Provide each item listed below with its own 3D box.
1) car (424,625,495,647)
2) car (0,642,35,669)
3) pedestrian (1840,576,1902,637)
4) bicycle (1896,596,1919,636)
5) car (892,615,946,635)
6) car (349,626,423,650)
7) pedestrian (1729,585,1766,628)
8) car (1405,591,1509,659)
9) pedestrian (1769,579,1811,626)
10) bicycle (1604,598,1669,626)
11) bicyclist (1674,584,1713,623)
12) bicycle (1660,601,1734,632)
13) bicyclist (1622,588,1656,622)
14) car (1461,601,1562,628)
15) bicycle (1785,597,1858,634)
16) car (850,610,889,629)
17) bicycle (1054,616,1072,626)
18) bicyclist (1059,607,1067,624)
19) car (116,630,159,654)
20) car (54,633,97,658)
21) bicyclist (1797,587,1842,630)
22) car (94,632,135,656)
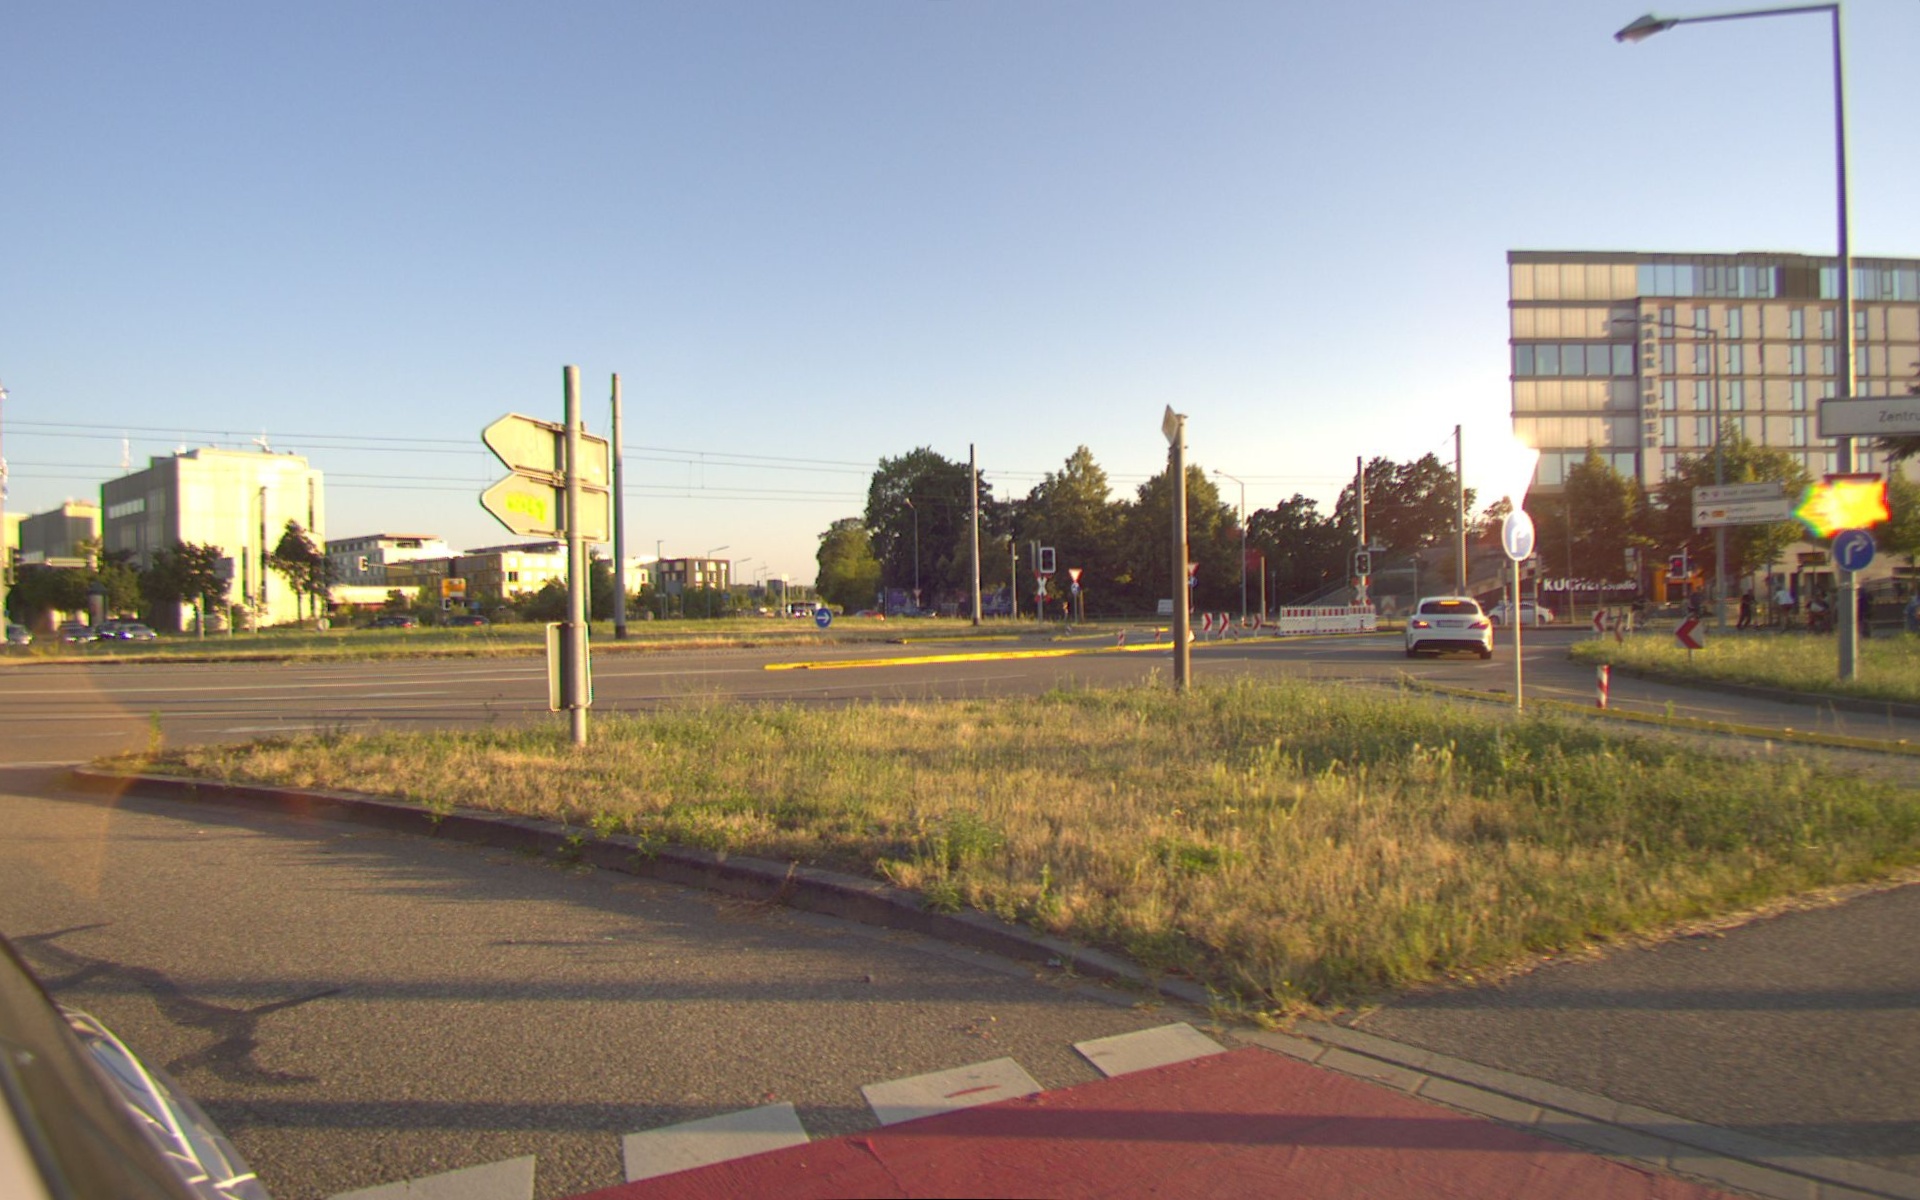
[{"bbox_3d":[-37.178,2.665,75.258,4.342,1.443,1.944,-2,-1,1],"label":"car"},{"bbox_3d":[-66.101,3.841,70.664,3.851,1.763,1.847,-1,0,42],"label":"car"},{"bbox_3d":[28.223,0.194,31.383,0.971,1.841,1.155,-1,-1,17],"label":"pedestrian"},{"bbox_3d":[28.644,0.460,29.218,0.742,1.176,2.414,-1,0,-8],"label":"bicycle"},{"bbox_3d":[-3.231,1.952,78.647,1.914,1.443,4.327,-1,-1,-40],"label":"car"},{"bbox_3d":[-40.386,2.656,71.240,4.199,1.512,1.840,-1,-1,4],"label":"car"},{"bbox_3d":[32.379,0.259,41.620,0.781,1.720,0.890,-1,-1,-11],"label":"pedestrian"},{"bbox_3d":[11.893,0.528,24.382,2.063,1.464,4.617,0,0,25],"label":"car"},{"bbox_3d":[31.141,0.110,37.983,0.784,1.720,0.888,-1,-1,2],"label":"pedestrian"},{"bbox_3d":[28.868,0.506,43.216,0.742,1.176,2.416,-1,0,-14],"label":"bicycle"},{"bbox_3d":[29.449,0.161,40.655,0.742,1.537,0.981,-1,-1,-17],"label":"bicyclist"},{"bbox_3d":[29.508,0.650,40.574,0.742,1.176,2.417,-1,0,-17],"label":"bicycle"},{"bbox_3d":[28.915,0.205,43.120,0.742,1.403,0.882,-1,-1,-14],"label":"bicyclist"},{"bbox_3d":[34.339,0.876,63.109,5.127,1.556,2.001,-1,0,-1],"label":"car"},{"bbox_3d":[28.772,0.517,33.869,0.746,1.176,2.401,-1,0,11],"label":"bicycle"},{"bbox_3d":[-7.697,1.667,85.740,1.911,1.443,4.610,-1,-1,-24],"label":"car"},{"bbox_3d":[8.600,1.772,84.561,1.412,0.797,0.469,-2,-1,29],"label":"bicycle"},{"bbox_3d":[8.600,1.323,84.556,0.446,1.408,0.469,-2,-1,28],"label":"bicyclist"},{"bbox_3d":[-59.278,3.002,72.913,4.192,1.637,1.847,-1,0,42],"label":"car"},{"bbox_3d":[-62.371,3.166,71.330,4.192,1.637,1.847,-1,0,42],"label":"car"},{"bbox_3d":[28.746,0.268,33.863,0.747,1.404,0.975,-1,-1,11],"label":"bicyclist"},{"bbox_3d":[-64.291,3.314,76.944,4.192,1.637,1.847,-1,0,42],"label":"car"}]
